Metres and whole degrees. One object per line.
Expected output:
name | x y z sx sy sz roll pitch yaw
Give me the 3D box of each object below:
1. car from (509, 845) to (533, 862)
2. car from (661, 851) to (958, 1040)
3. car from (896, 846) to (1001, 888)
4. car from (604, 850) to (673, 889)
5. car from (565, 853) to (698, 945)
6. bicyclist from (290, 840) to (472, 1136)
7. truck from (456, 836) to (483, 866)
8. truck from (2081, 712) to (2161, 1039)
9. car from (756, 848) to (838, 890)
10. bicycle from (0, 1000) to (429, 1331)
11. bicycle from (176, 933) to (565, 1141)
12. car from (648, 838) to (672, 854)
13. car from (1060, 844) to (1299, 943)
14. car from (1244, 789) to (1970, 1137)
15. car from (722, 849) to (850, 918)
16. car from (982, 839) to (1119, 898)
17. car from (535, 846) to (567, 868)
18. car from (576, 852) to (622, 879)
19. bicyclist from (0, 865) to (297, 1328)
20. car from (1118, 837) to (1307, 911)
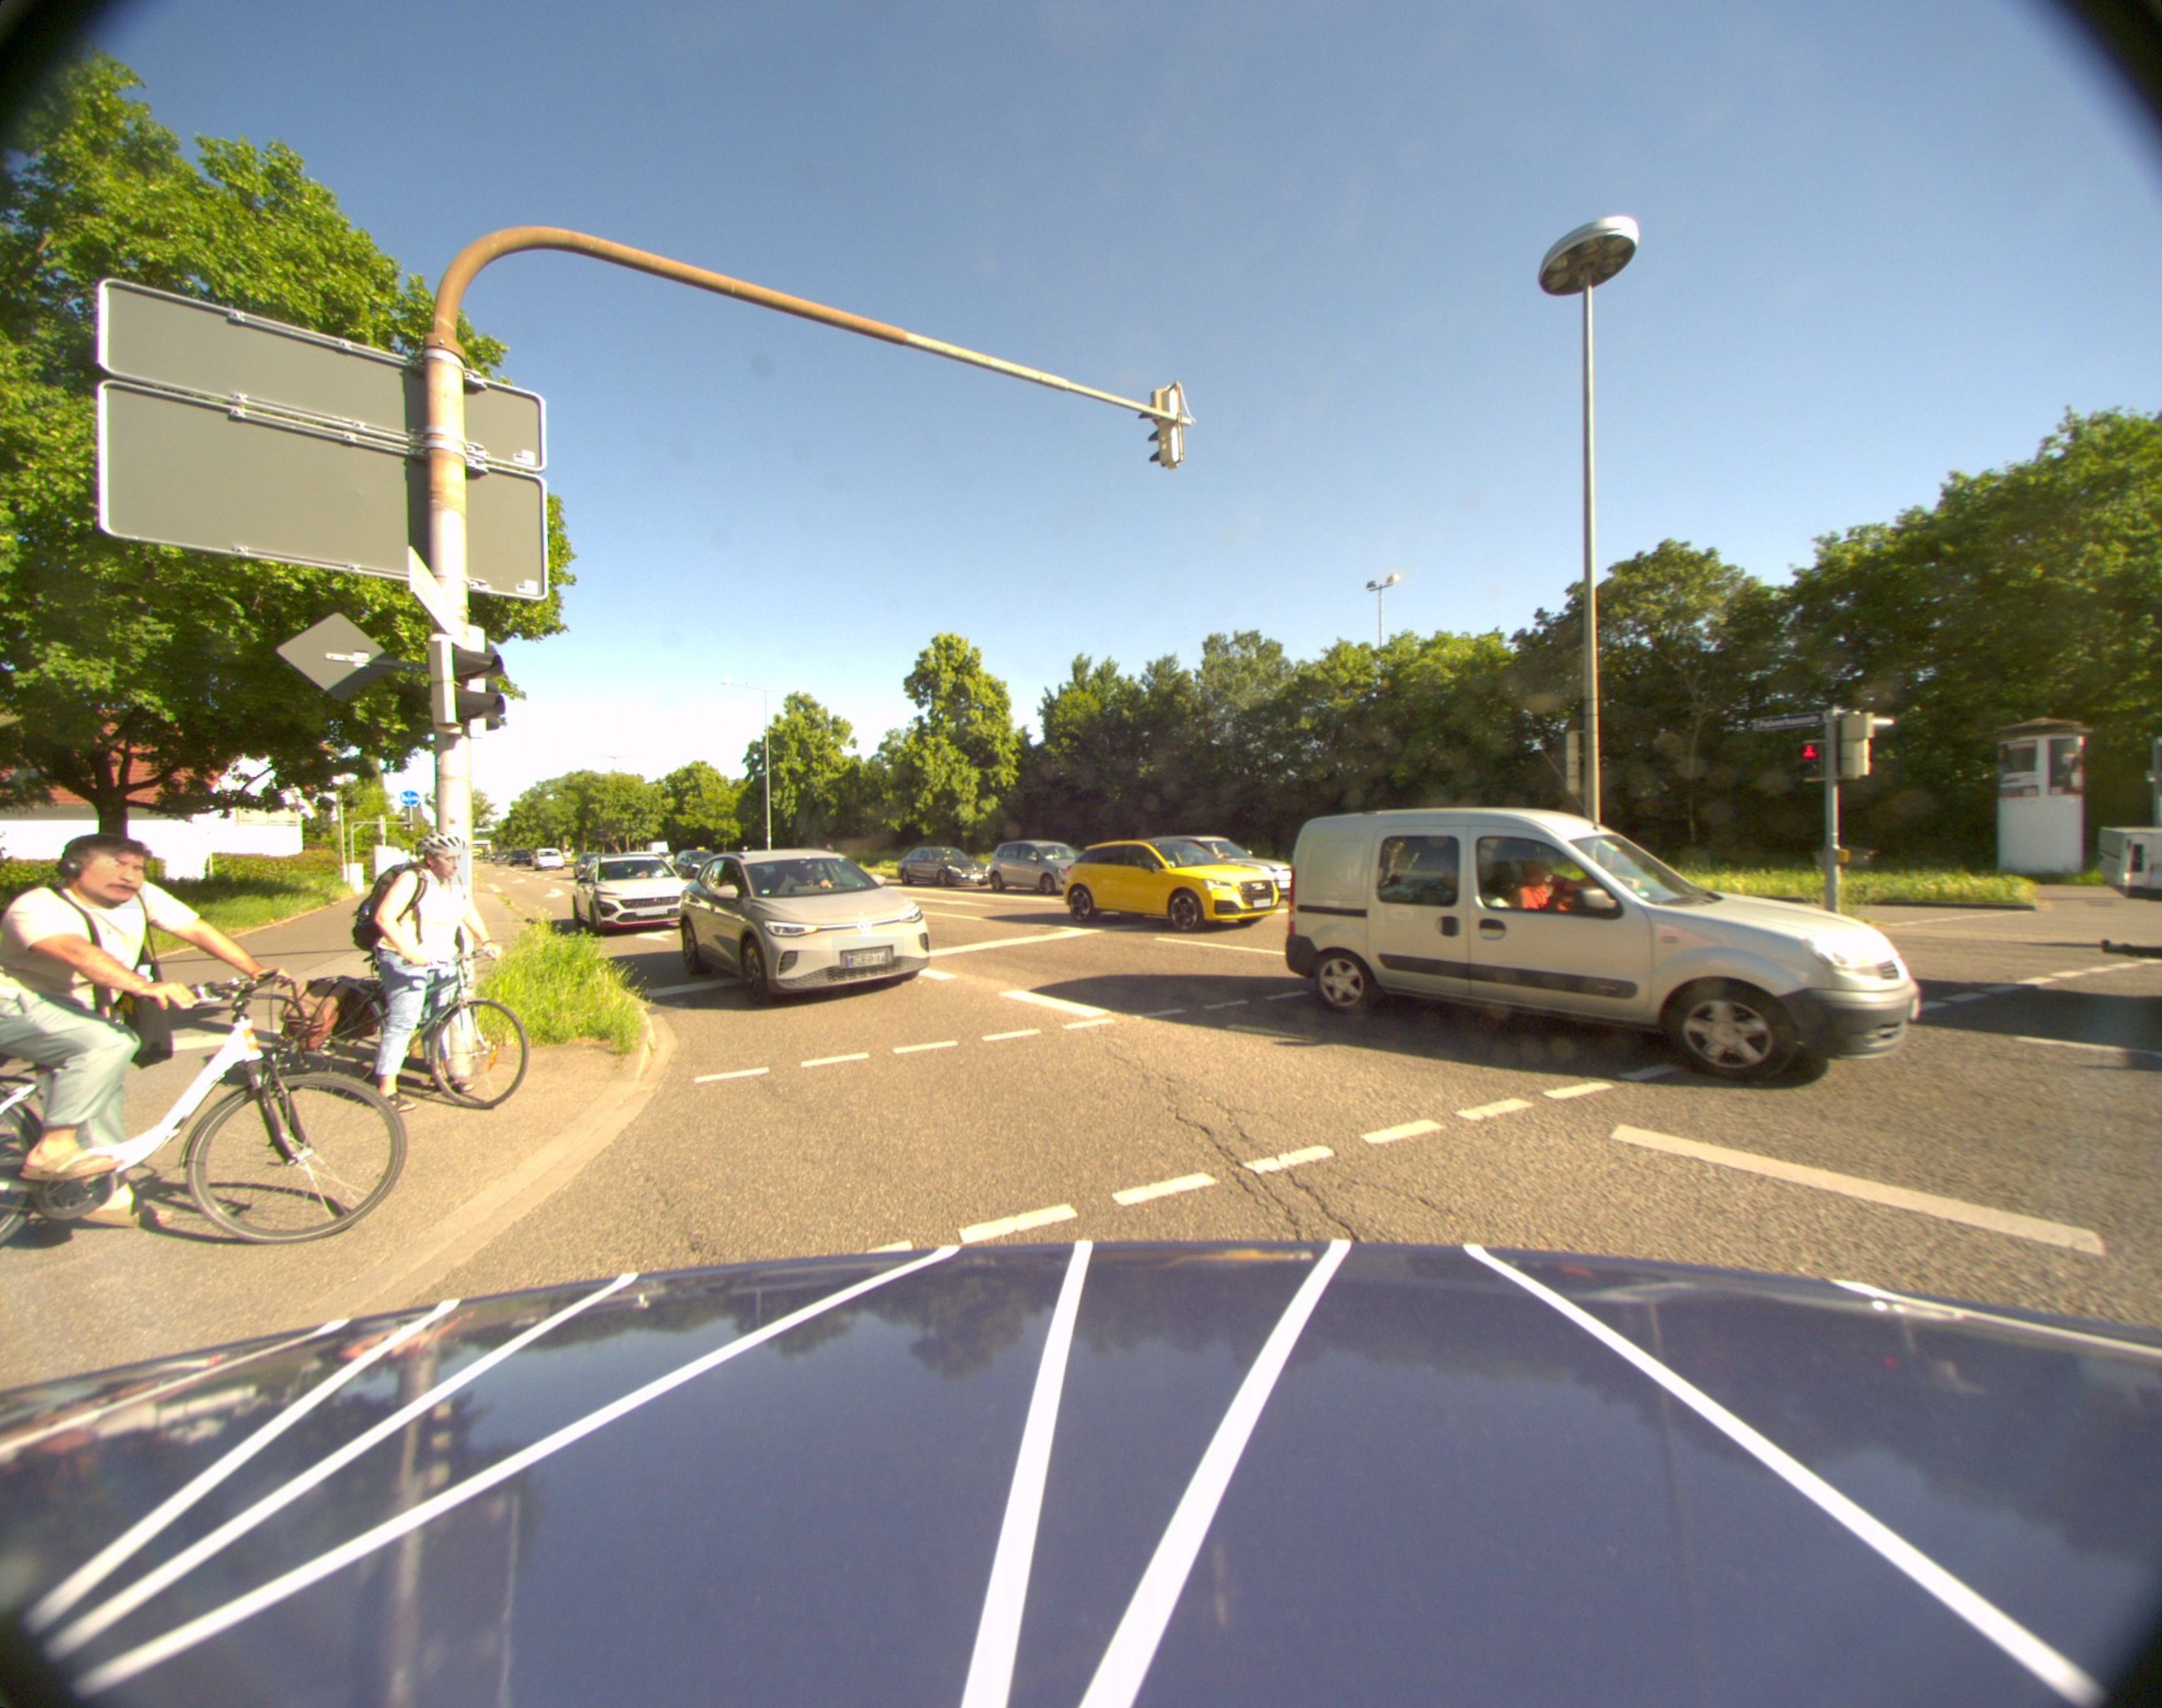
car | -63.253 -0.055 85.816 1.845 1.788 3.900 -5 4 -40
car | -3.538 0.843 9.365 1.997 1.631 4.352 -5 4 -39
car | -4.893 0.417 27.701 1.840 1.397 4.342 -2 2 -40
car | -19.406 0.617 33.246 1.924 1.478 4.352 -5 3 -38
car | -9.660 0.834 16.187 1.695 1.564 4.109 -5 4 -40
bicyclist | -4.232 0.777 4.634 0.585 1.687 0.527 2 3 0
truck | -67.594 -0.374 83.968 2.003 3.060 5.791 -5 4 -40
truck | 10.479 0.145 3.633 2.196 2.296 6.755 -2 2 -40
car | -11.036 0.530 29.349 1.695 1.432 3.900 -5 4 -40
bicycle | -3.840 1.175 2.989 1.871 1.070 0.530 3 3 -16
bicycle | -4.282 1.090 4.657 1.869 1.071 0.531 2 3 0
car | -58.007 -1.048 104.667 1.921 2.073 4.526 -5 4 -39
car | 1.582 0.573 13.425 1.696 1.432 4.109 -3 2 -40
car | 3.663 0.480 6.062 1.924 1.719 4.352 -5 4 -38
car | -7.933 0.682 20.199 1.924 1.478 4.352 -5 3 -38
car | -1.007 0.378 22.794 1.883 1.566 4.231 -2 2 -40
car | -45.315 0.233 64.876 1.802 1.788 3.900 -5 4 -40
car | -28.296 0.635 44.570 1.695 1.432 3.900 -5 4 -40
bicyclist | -3.795 0.888 2.991 0.808 1.626 0.542 3 3 -17
car | 2.977 0.389 17.913 1.840 1.529 4.183 -1 1 -40
